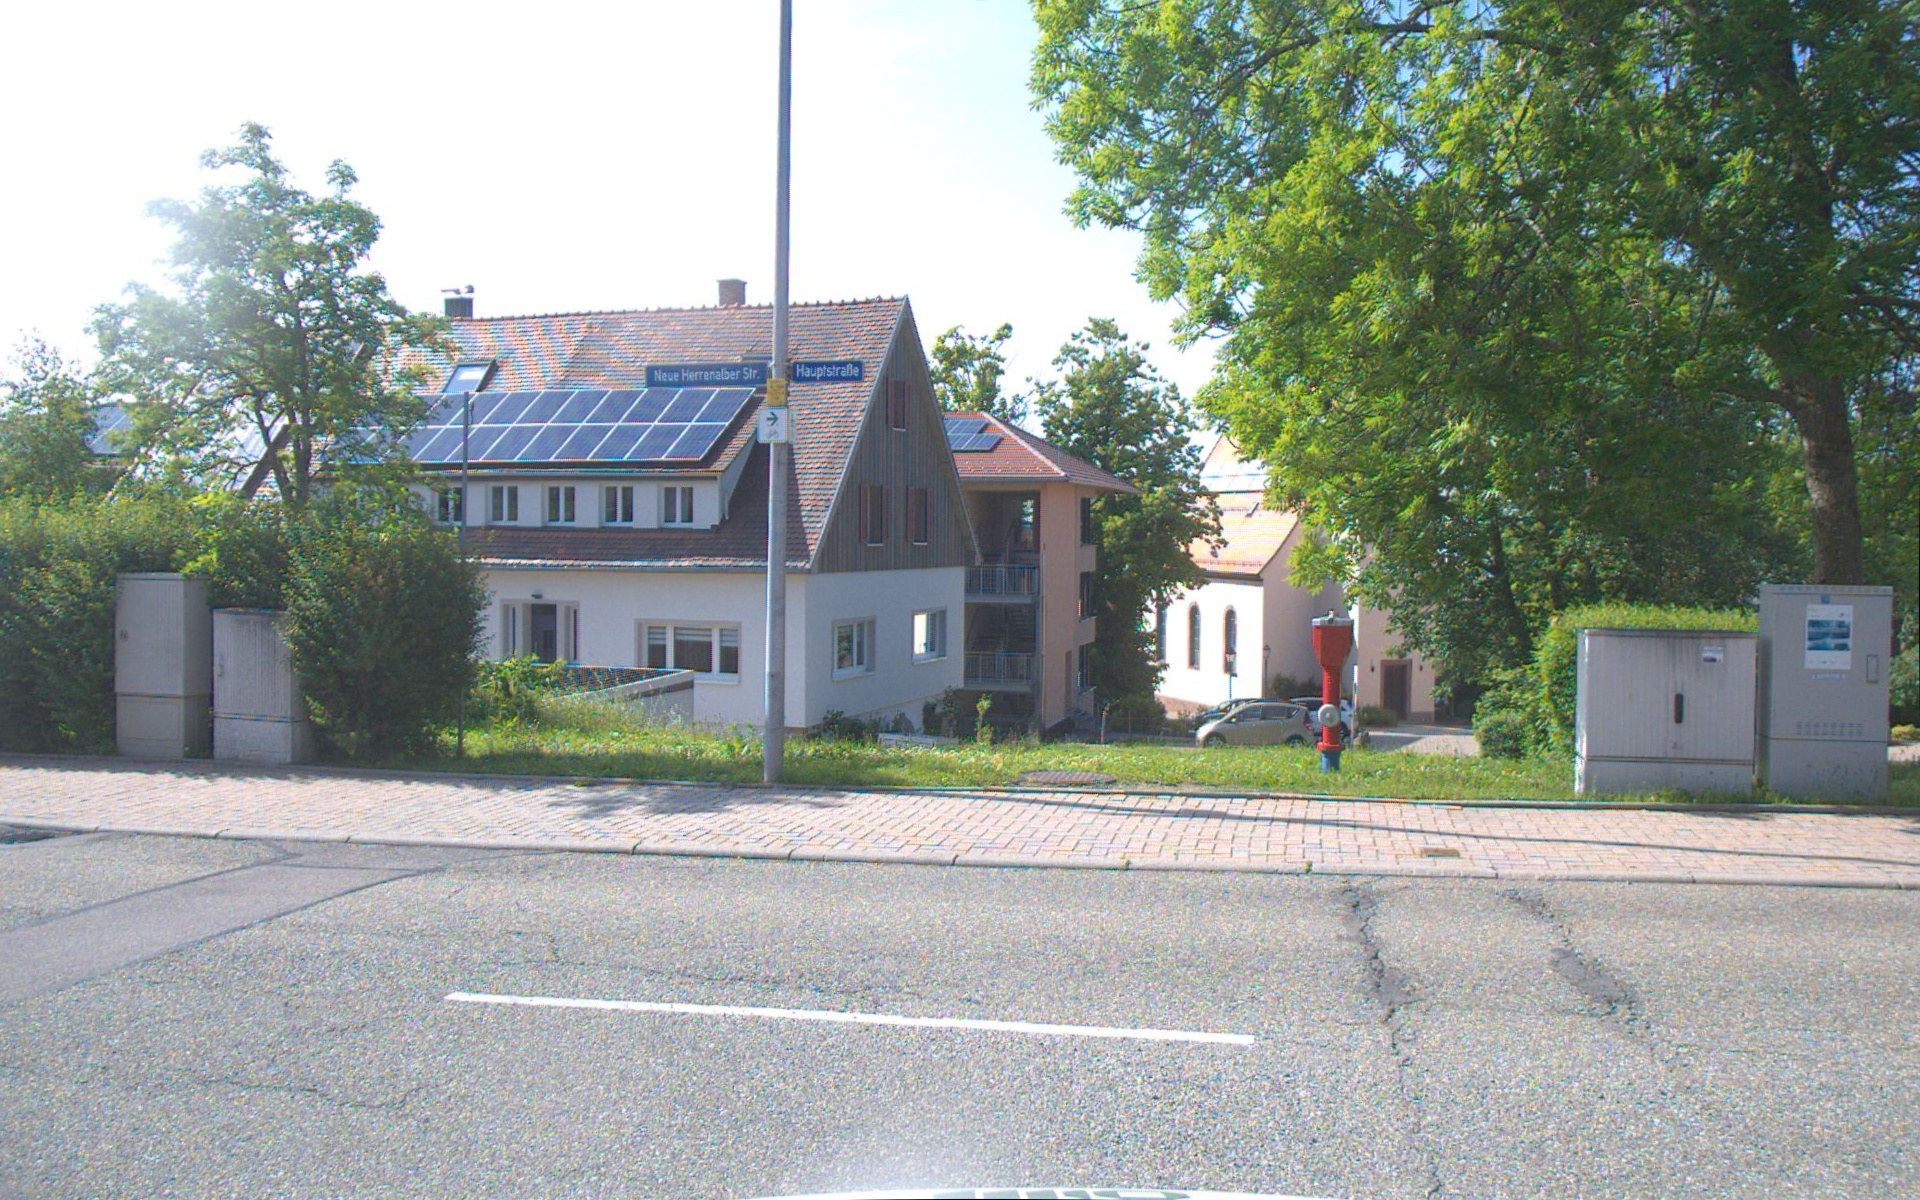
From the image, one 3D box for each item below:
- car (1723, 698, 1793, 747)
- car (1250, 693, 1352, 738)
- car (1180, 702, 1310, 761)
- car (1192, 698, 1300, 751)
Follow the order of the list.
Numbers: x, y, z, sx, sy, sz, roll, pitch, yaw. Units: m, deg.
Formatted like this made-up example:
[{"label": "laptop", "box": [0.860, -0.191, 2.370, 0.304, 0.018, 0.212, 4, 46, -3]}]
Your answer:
[{"label": "car", "box": [28.353, 4.327, 58.859, 1.672, 1.569, 3.787, -1, -2, 17]}, {"label": "car", "box": [12.948, 4.384, 63.026, 3.692, 1.622, 1.715, 0, -2, 8]}, {"label": "car", "box": [9.083, 4.175, 52.826, 4.003, 1.789, 1.715, 0, -2, 9]}, {"label": "car", "box": [10.090, 4.376, 58.548, 3.692, 1.789, 1.715, 0, -2, 8]}]
